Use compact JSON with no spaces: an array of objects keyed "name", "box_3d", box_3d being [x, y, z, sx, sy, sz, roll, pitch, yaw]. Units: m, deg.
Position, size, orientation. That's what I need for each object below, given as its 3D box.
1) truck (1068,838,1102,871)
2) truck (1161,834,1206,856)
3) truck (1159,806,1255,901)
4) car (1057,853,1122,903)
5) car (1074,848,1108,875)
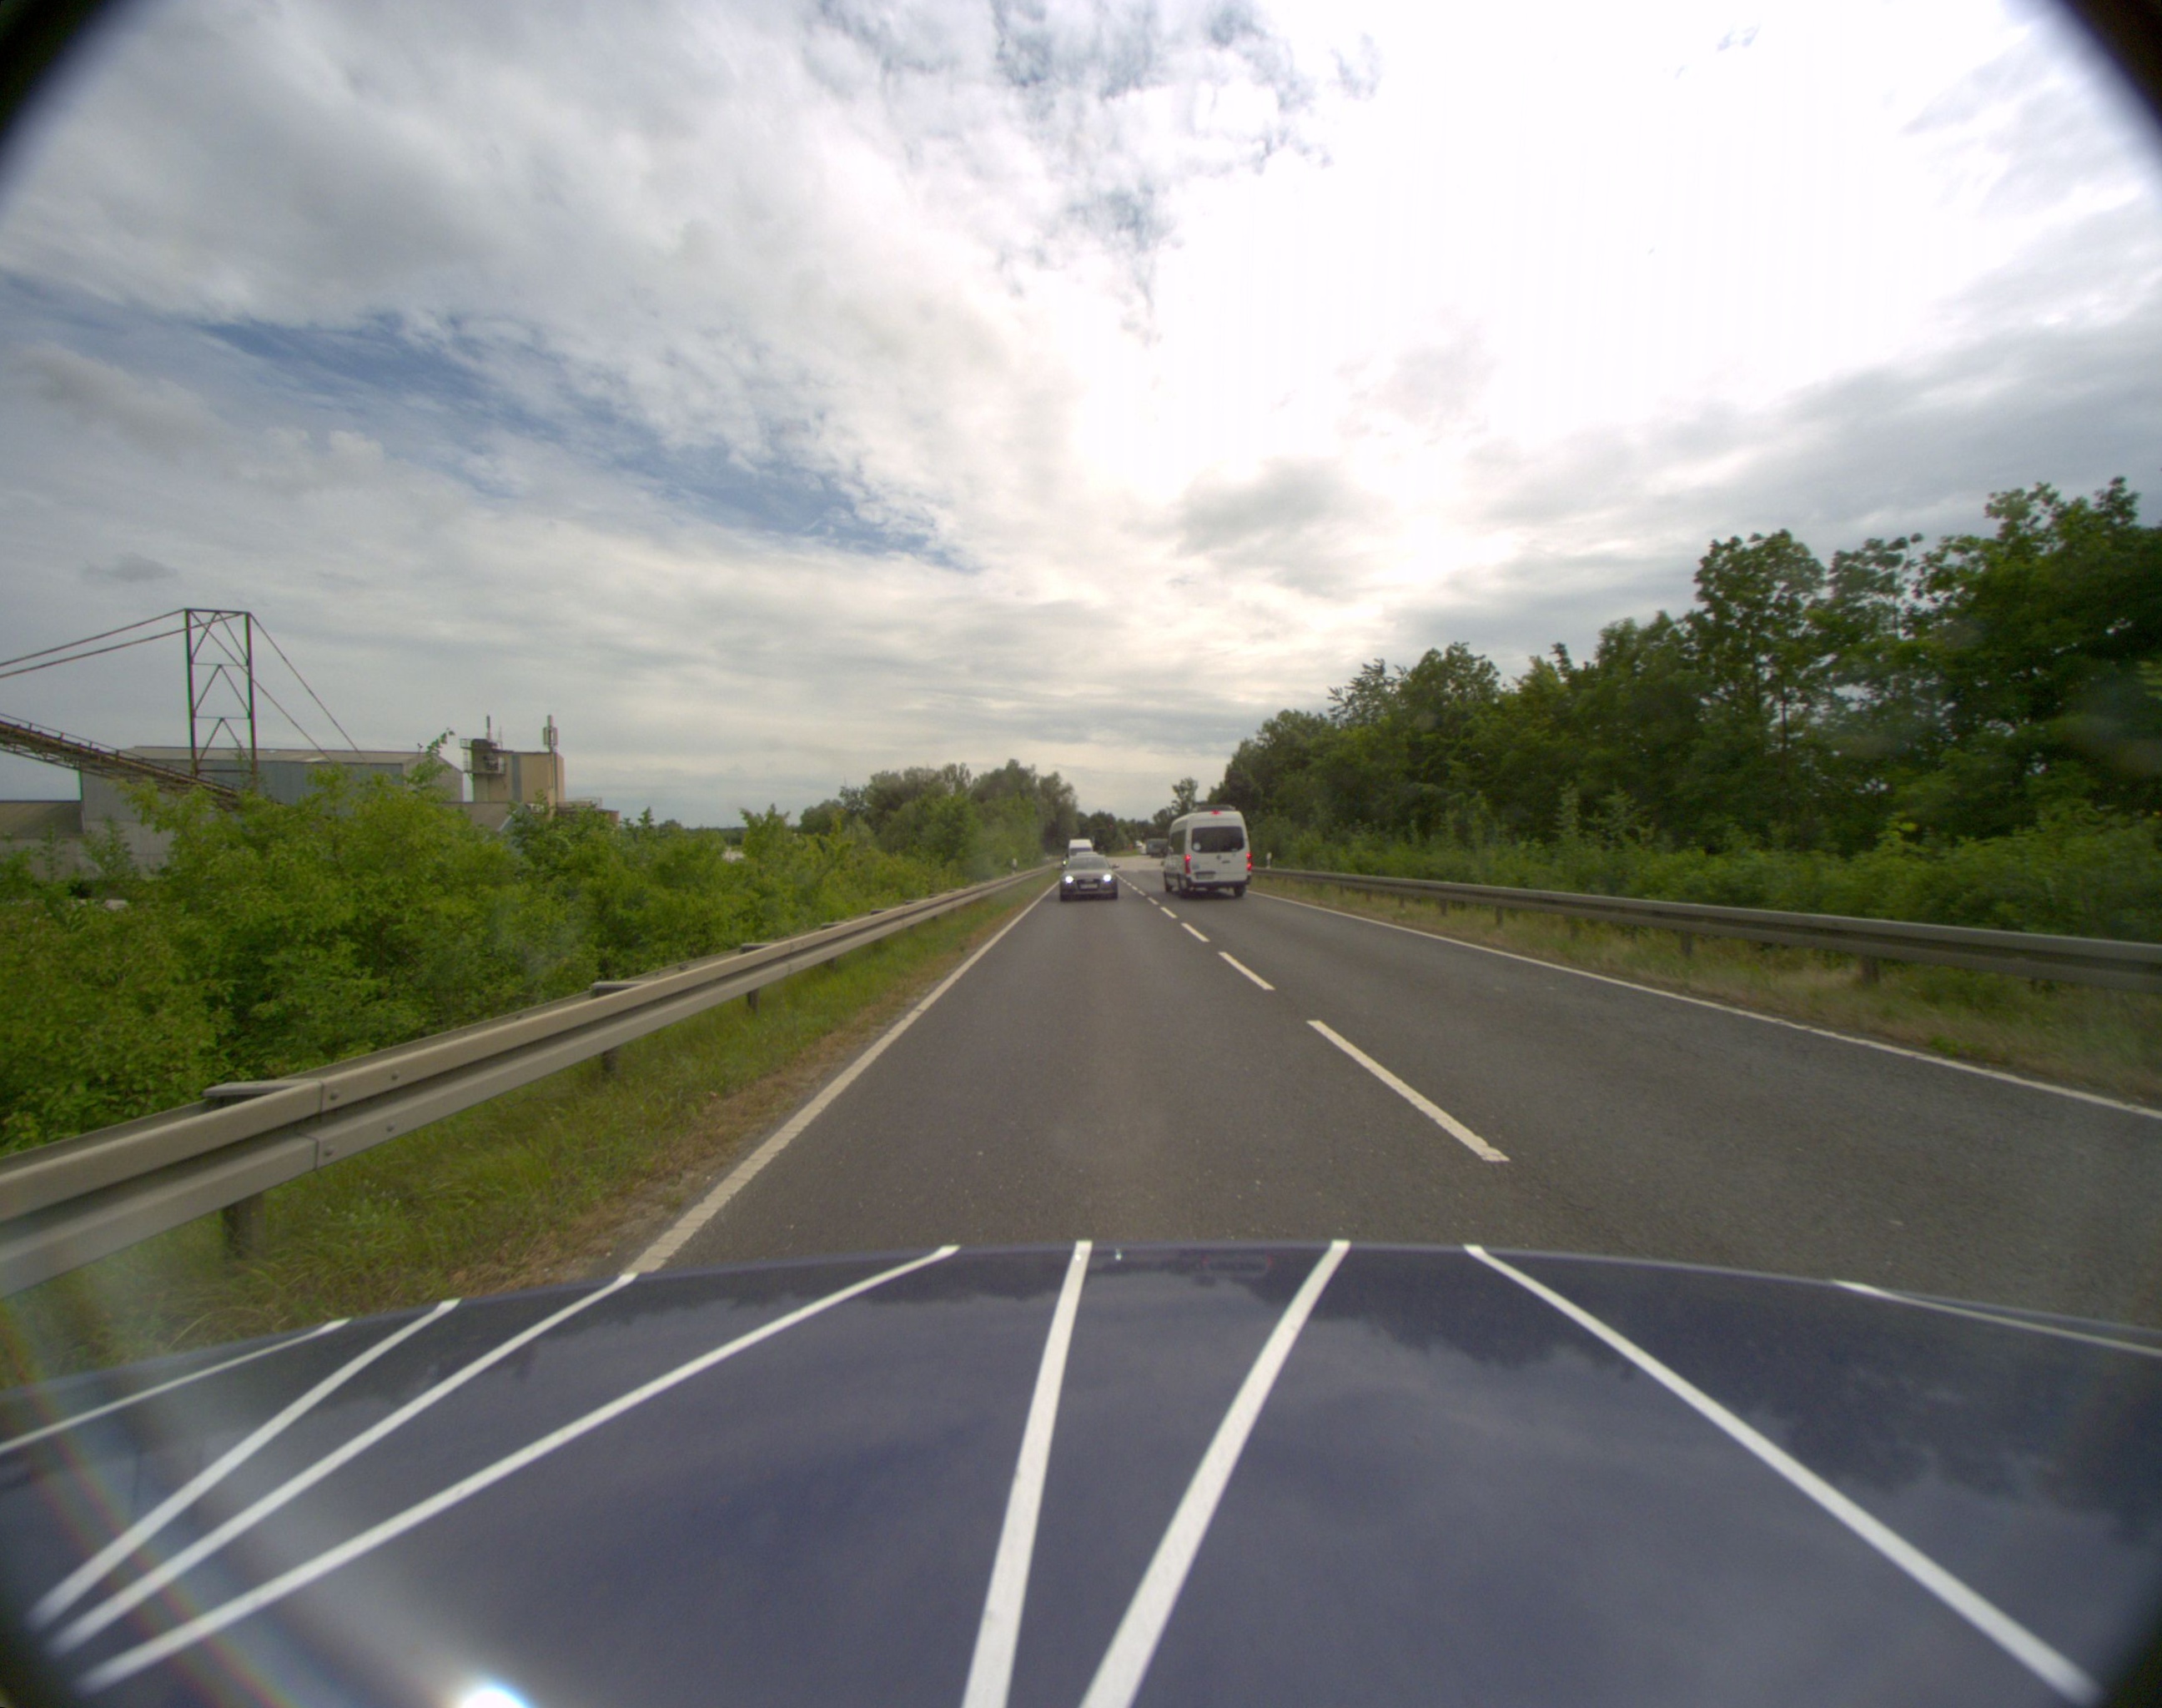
[{"name":"truck","box_3d":[0.264,-0.026,62.229,2.380,2.579,5.995,1,1,-3]},{"name":"truck","box_3d":[21.620,-1.933,160.128,3.035,4.325,9.541,0,2,-43]},{"name":"truck","box_3d":[4.044,-0.028,25.659,2.070,2.726,7.006,-1,0,0]},{"name":"car","box_3d":[0.281,0.733,25.883,1.965,1.446,4.796,-2,0,0]},{"name":"car","box_3d":[0.658,0.427,46.787,1.826,1.489,4.225,2,1,4]}]
